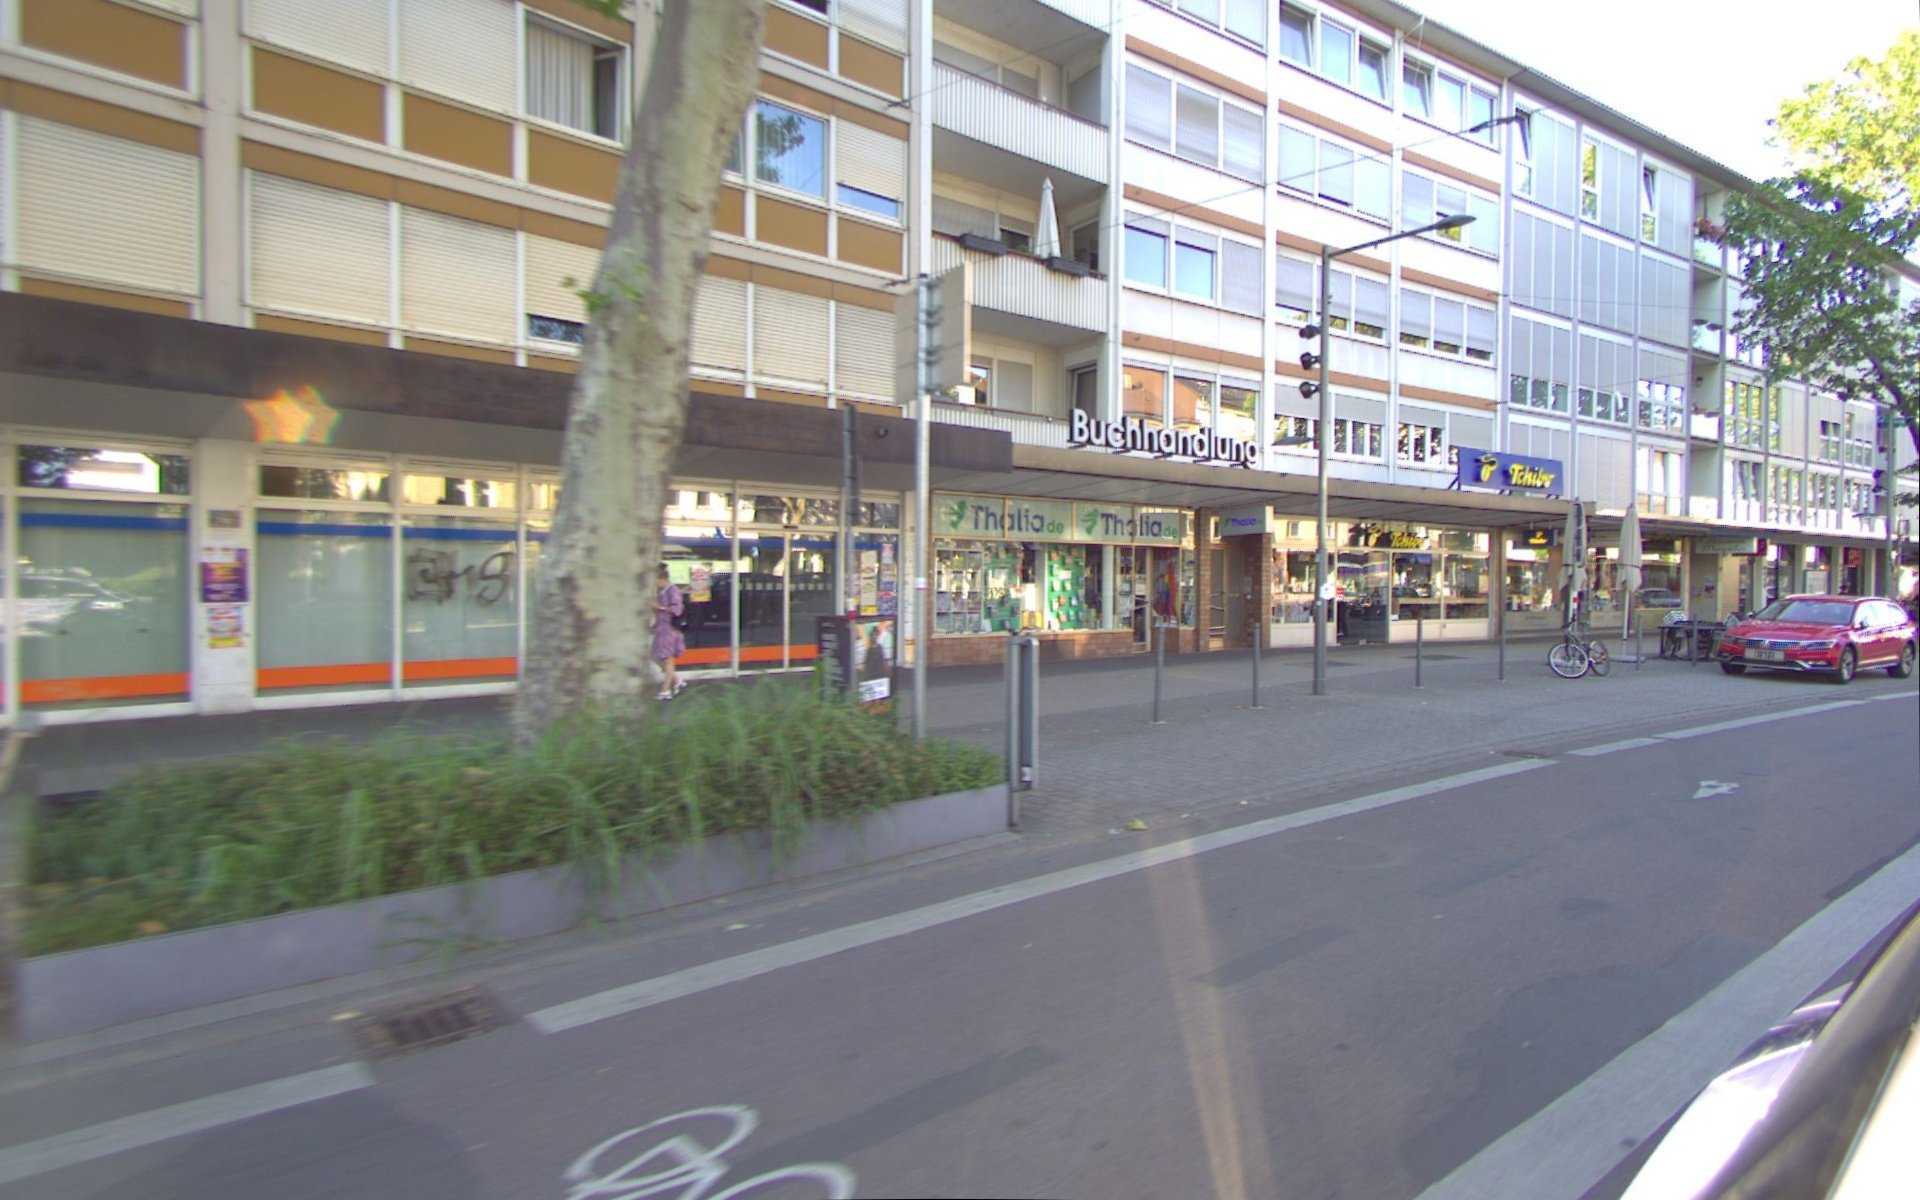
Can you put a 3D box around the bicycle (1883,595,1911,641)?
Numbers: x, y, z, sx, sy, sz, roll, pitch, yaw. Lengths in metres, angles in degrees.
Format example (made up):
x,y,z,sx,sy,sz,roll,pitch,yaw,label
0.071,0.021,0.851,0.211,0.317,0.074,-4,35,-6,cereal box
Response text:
x,y,z,sx,sy,sz,roll,pitch,yaw,label
24.270,0.458,26.206,1.688,1.114,0.294,-1,4,-41,bicycle

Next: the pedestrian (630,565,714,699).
x,y,z,sx,sy,sz,roll,pitch,yaw,label
-3.510,0.360,12.328,0.793,1.571,0.641,-1,2,-40,pedestrian

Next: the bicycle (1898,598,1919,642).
x,y,z,sx,sy,sz,roll,pitch,yaw,label
24.388,0.490,25.934,1.688,1.053,0.294,-1,4,-41,bicycle

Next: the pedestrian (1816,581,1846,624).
x,y,z,sx,sy,sz,roll,pitch,yaw,label
29.639,0.075,34.420,0.673,1.417,0.539,-1,3,-32,pedestrian

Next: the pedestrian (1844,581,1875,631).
x,y,z,sx,sy,sz,roll,pitch,yaw,label
30.051,0.186,33.820,0.673,1.610,0.539,-1,3,-32,pedestrian

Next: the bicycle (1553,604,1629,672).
x,y,z,sx,sy,sz,roll,pitch,yaw,label
10.981,0.636,17.602,1.630,1.083,0.513,-1,3,-36,bicycle

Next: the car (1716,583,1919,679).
x,y,z,sx,sy,sz,roll,pitch,yaw,label
16.134,0.486,18.741,4.477,1.514,1.787,-1,3,-31,car
